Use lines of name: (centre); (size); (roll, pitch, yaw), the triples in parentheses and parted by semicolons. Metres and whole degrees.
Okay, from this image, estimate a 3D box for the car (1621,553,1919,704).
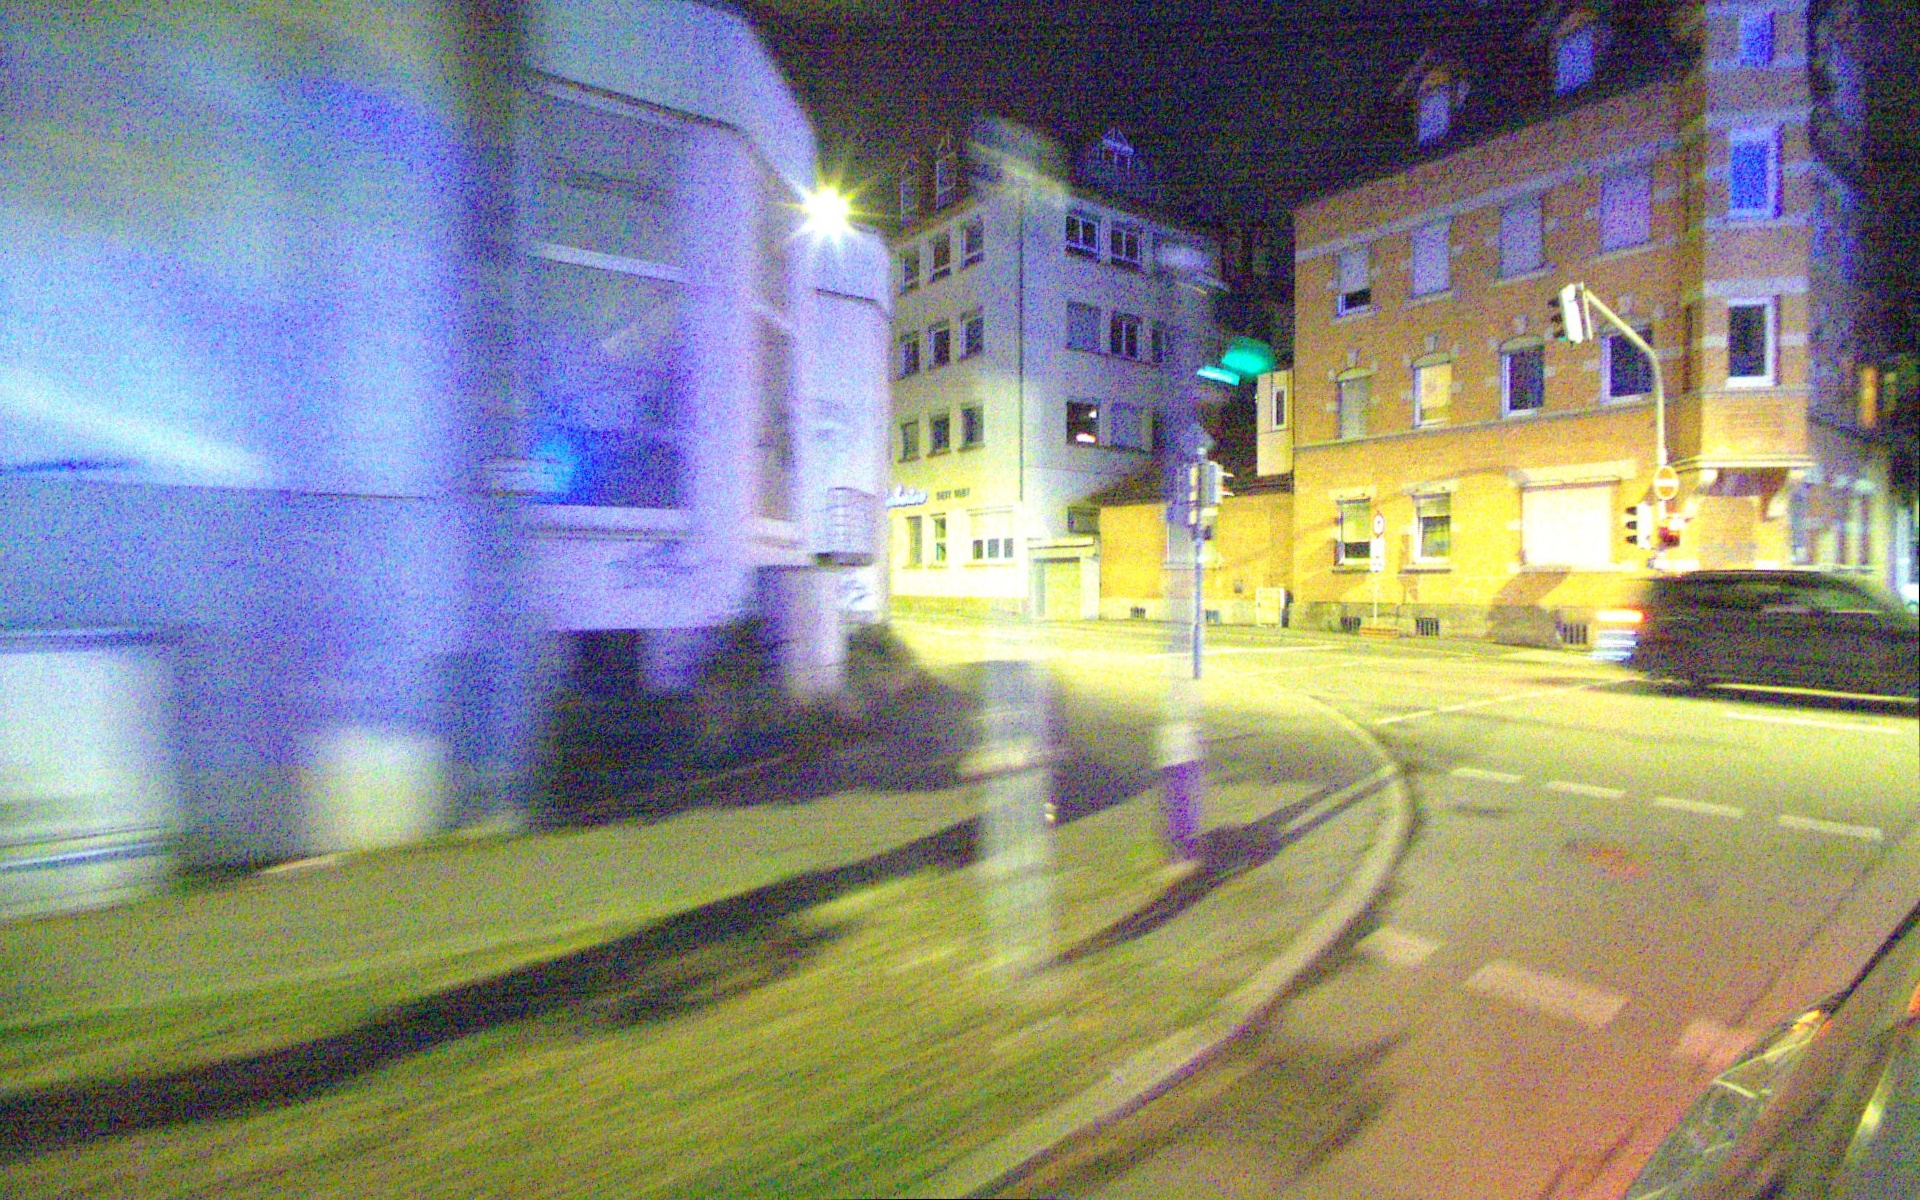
car: (10.653, 0.285, 12.262); (1.963, 1.636, 3.999); (0, 1, -37)
